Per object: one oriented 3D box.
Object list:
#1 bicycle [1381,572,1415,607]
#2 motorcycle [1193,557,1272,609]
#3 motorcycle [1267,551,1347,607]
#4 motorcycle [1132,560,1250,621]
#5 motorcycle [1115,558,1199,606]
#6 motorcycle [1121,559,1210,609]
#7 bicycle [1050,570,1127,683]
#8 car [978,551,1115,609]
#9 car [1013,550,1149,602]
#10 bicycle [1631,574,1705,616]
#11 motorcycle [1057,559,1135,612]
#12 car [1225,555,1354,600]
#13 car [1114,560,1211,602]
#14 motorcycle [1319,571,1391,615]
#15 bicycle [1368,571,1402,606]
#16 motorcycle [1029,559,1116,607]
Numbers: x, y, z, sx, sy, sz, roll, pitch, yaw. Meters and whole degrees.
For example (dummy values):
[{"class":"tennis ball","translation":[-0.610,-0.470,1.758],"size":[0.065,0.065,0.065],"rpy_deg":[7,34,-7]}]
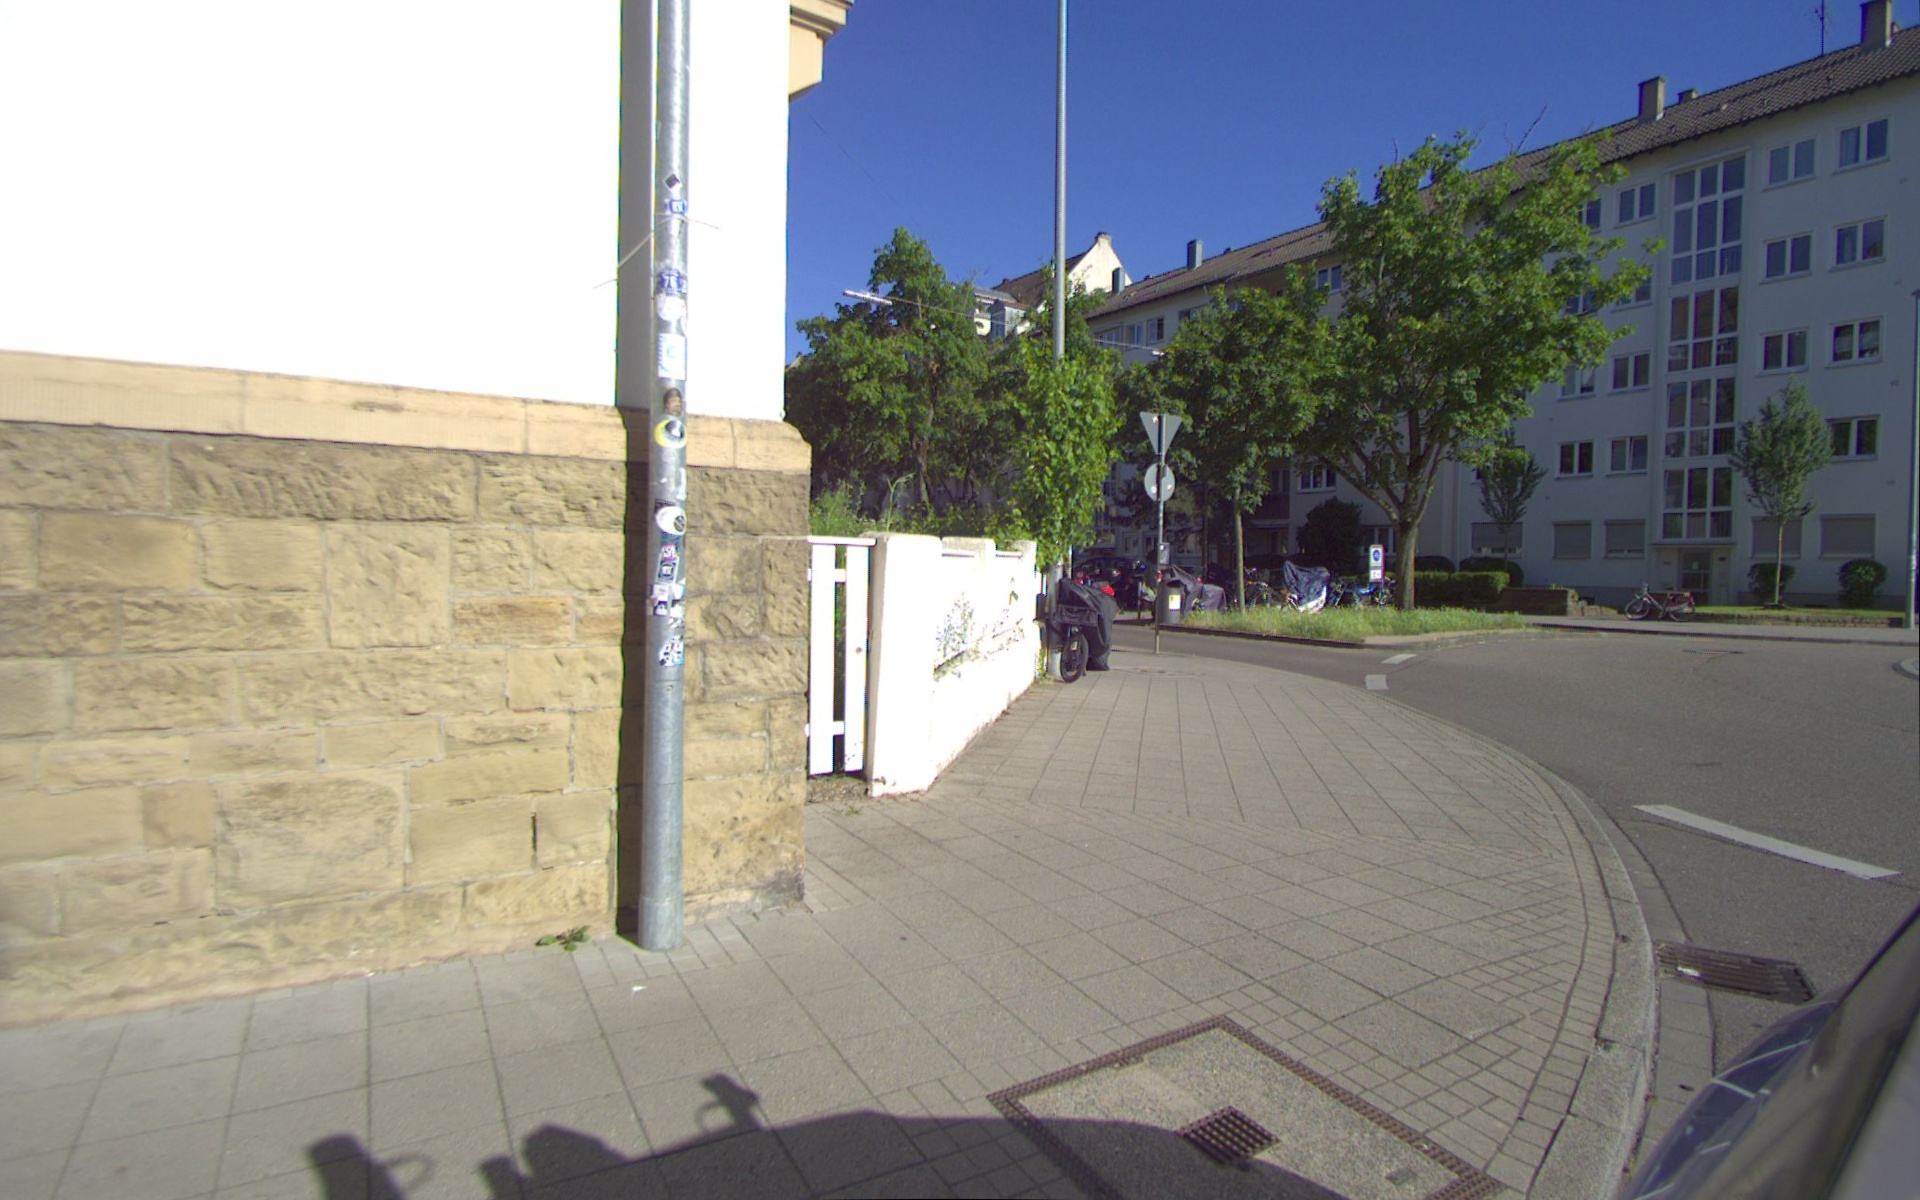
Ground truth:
[{"class":"bicycle","translation":[14.158,-0.348,32.698],"size":[1.423,1.069,0.331],"rpy_deg":[-3,4,-35]},{"class":"motorcycle","translation":[7.730,-0.488,28.696],"size":[2.087,1.409,1.063],"rpy_deg":[-1,3,-35]},{"class":"motorcycle","translation":[8.590,-0.528,25.023],"size":[2.016,1.344,0.863],"rpy_deg":[-1,2,-37]},{"class":"motorcycle","translation":[5.275,-0.244,23.008],"size":[2.733,1.283,1.126],"rpy_deg":[-1,3,-39]},{"class":"motorcycle","translation":[5.562,-0.515,28.550],"size":[2.199,1.283,1.052],"rpy_deg":[-1,2,-33]},{"class":"motorcycle","translation":[5.509,-0.441,27.093],"size":[2.199,1.283,1.052],"rpy_deg":[-1,2,-33]},{"class":"bicycle","translation":[1.534,0.248,11.766],"size":[0.754,1.172,2.279],"rpy_deg":[0,1,11]},{"class":"car","translation":[2.550,-0.616,30.427],"size":[3.799,1.660,1.806],"rpy_deg":[1,2,-4]},{"class":"car","translation":[3.920,-0.788,32.965],"size":[3.916,1.617,2.005],"rpy_deg":[0,2,-15]},{"class":"bicycle","translation":[19.589,-0.144,28.030],"size":[0.377,1.091,1.624],"rpy_deg":[-3,4,-38]},{"class":"motorcycle","translation":[3.465,-0.385,25.749],"size":[1.858,1.251,0.890],"rpy_deg":[-3,4,-33]},{"class":"car","translation":[11.326,-0.815,35.024],"size":[1.796,1.429,4.004],"rpy_deg":[1,2,-32]},{"class":"car","translation":[7.876,-0.760,39.718],"size":[1.747,1.503,4.009],"rpy_deg":[1,2,-22]},{"class":"motorcycle","translation":[10.231,-0.168,26.195],"size":[1.809,1.086,0.815],"rpy_deg":[1,2,-33]},{"class":"bicycle","translation":[13.896,-0.372,33.093],"size":[1.423,1.069,0.331],"rpy_deg":[-3,4,-35]},{"class":"motorcycle","translation":[3.113,-0.488,27.958],"size":[2.199,1.283,1.052],"rpy_deg":[-1,2,-33]}]
